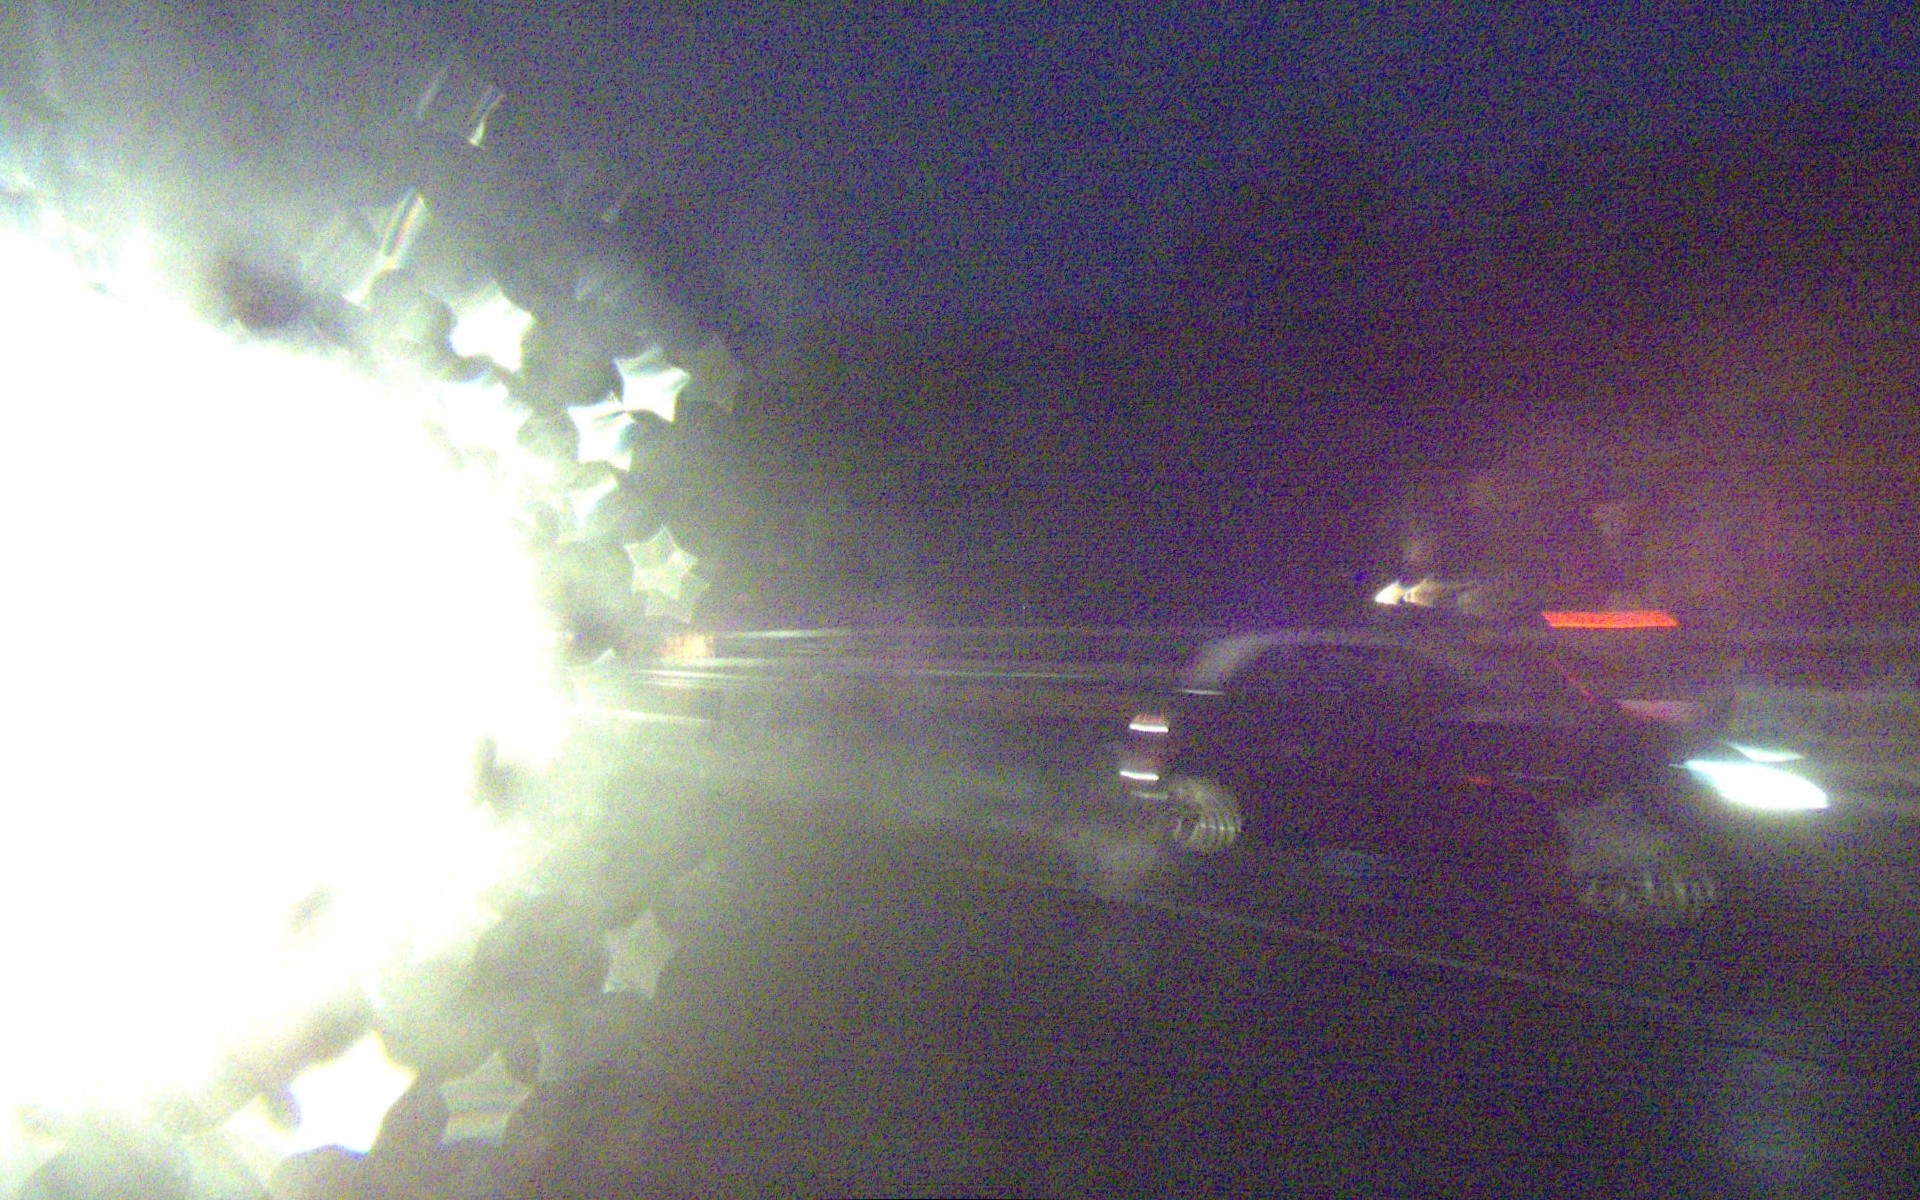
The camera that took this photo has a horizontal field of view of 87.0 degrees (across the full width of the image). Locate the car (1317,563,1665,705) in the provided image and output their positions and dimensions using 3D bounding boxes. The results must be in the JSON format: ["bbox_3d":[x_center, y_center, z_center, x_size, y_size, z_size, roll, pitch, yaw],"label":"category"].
[{"bbox_3d":[8.672,0.500,16.795,4.807,2.029,1.973,0,0,41],"label":"car"}]

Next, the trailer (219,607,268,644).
[{"bbox_3d":[-70.502,2.431,99.442,2.578,3.499,10.458,0,0,-43],"label":"trailer"}]

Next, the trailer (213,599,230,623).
[{"bbox_3d":[-141.043,2.016,193.364,2.541,4.491,12.523,-1,0,-36],"label":"trailer"}]

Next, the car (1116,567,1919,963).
[{"bbox_3d":[2.986,0.720,5.876,3.846,1.587,1.633,-2,-3,40],"label":"car"}]

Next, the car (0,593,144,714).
[{"bbox_3d":[-17.557,0.992,19.774,4.461,2.121,1.731,-1,-2,41],"label":"car"}]

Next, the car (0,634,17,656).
[{"bbox_3d":[-91.621,4.293,96.601,3.998,2.029,1.973,-2,0,41],"label":"car"}]

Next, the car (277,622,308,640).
[{"bbox_3d":[-68.392,3.122,103.708,4.000,1.726,1.811,0,0,43],"label":"car"}]

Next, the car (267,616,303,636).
[{"bbox_3d":[-49.503,1.906,74.227,3.244,1.352,1.585,0,1,44],"label":"car"}]

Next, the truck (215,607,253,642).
[{"bbox_3d":[-74.426,2.450,103.690,2.573,3.483,4.646,0,0,-43],"label":"truck"}]

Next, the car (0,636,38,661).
[{"bbox_3d":[-80.358,4.134,86.409,3.998,2.029,1.973,-2,0,41],"label":"car"}]
